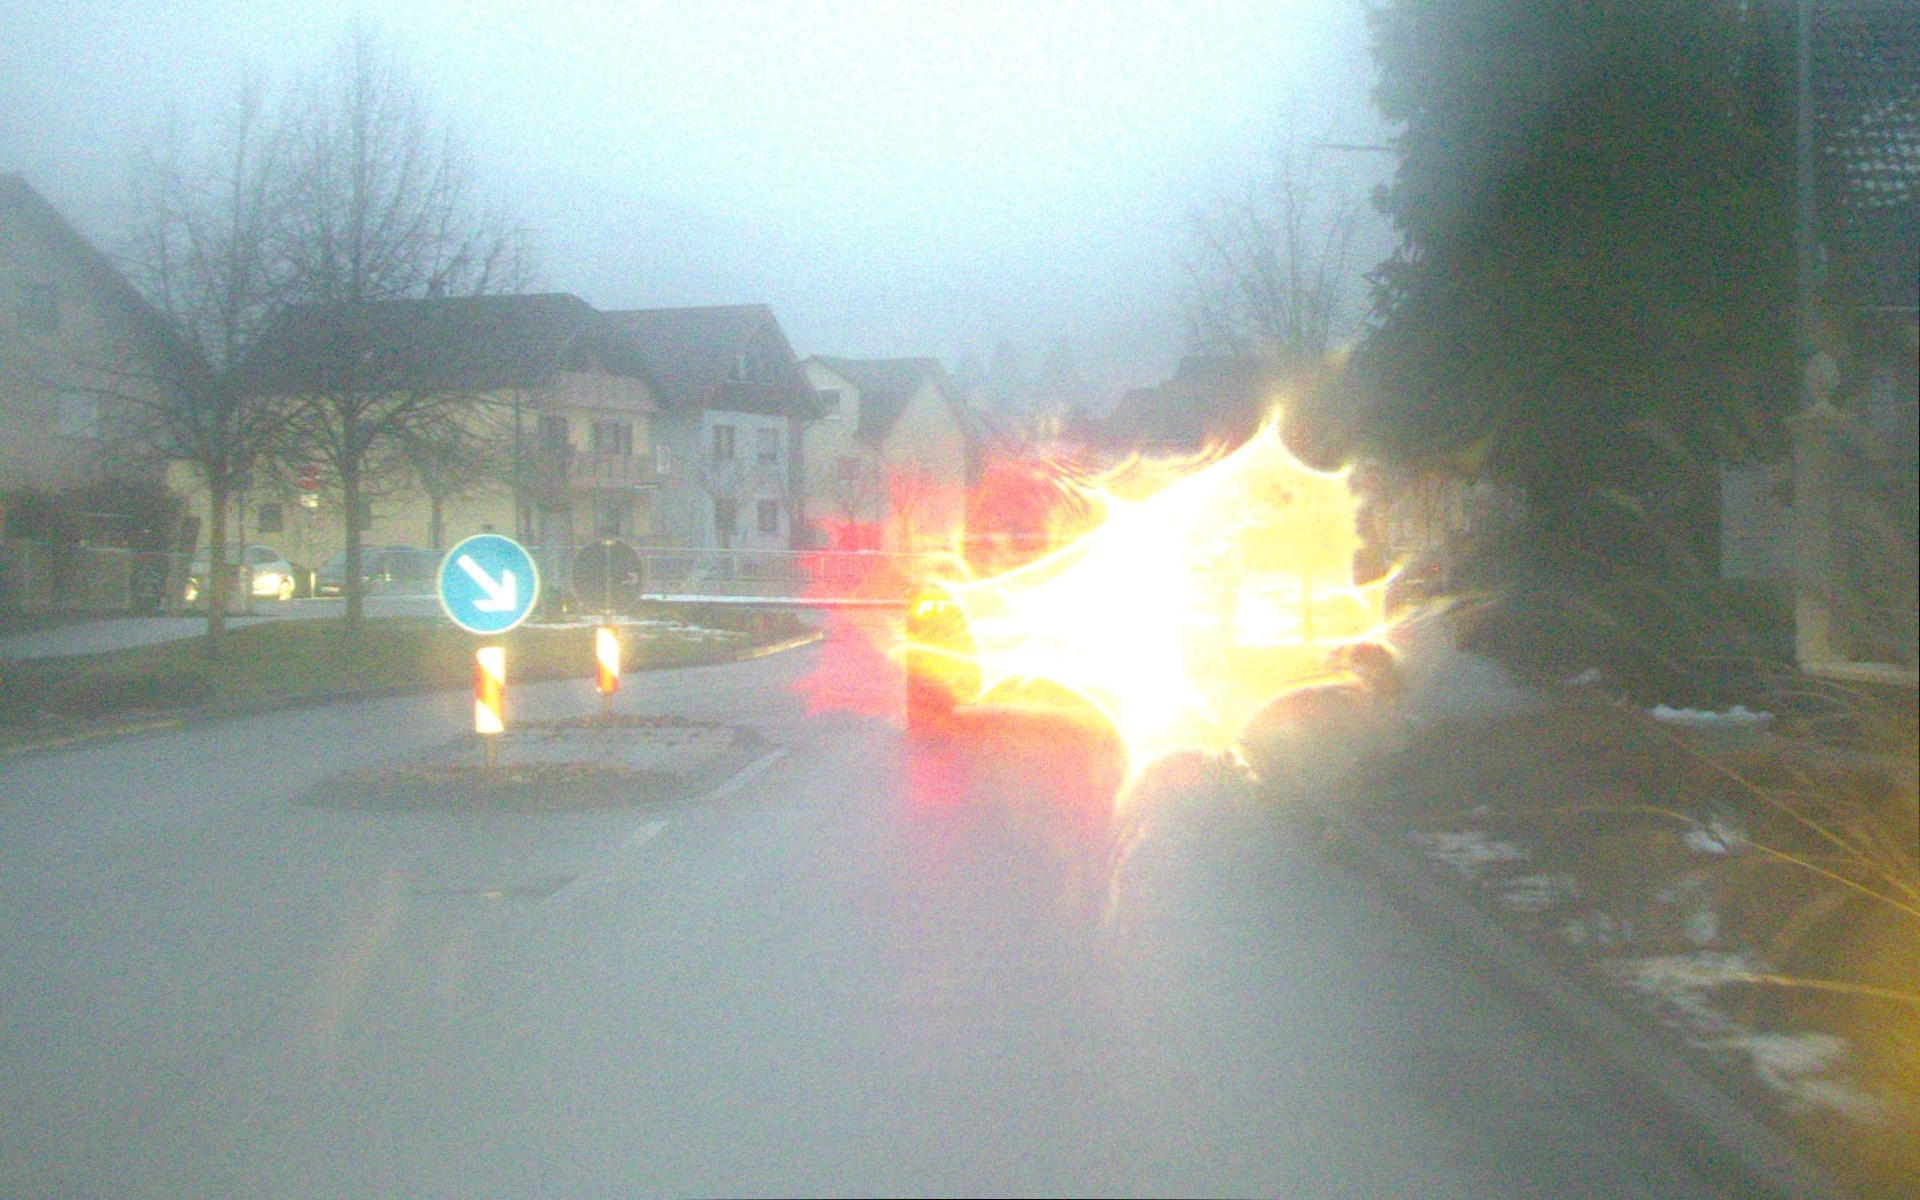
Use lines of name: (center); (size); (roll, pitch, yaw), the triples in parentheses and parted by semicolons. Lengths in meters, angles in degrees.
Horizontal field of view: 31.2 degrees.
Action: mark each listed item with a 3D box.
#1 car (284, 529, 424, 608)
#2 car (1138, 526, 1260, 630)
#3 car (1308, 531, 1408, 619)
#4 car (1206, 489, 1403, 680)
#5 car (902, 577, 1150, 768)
car: (-16.134, -0.854, 91.709); (1.995, 2.007, 3.996); (2, 1, 19)
car: (4.801, -0.435, 68.722); (1.994, 2.007, 3.998); (1, 0, 10)
car: (8.703, -0.579, 74.968); (1.746, 1.779, 4.334); (-2, 1, 11)
car: (3.984, -0.224, 40.553); (1.977, 2.007, 5.745); (-2, 1, 3)
car: (0.530, 0.573, 29.794); (1.993, 1.520, 4.000); (0, 1, 0)
